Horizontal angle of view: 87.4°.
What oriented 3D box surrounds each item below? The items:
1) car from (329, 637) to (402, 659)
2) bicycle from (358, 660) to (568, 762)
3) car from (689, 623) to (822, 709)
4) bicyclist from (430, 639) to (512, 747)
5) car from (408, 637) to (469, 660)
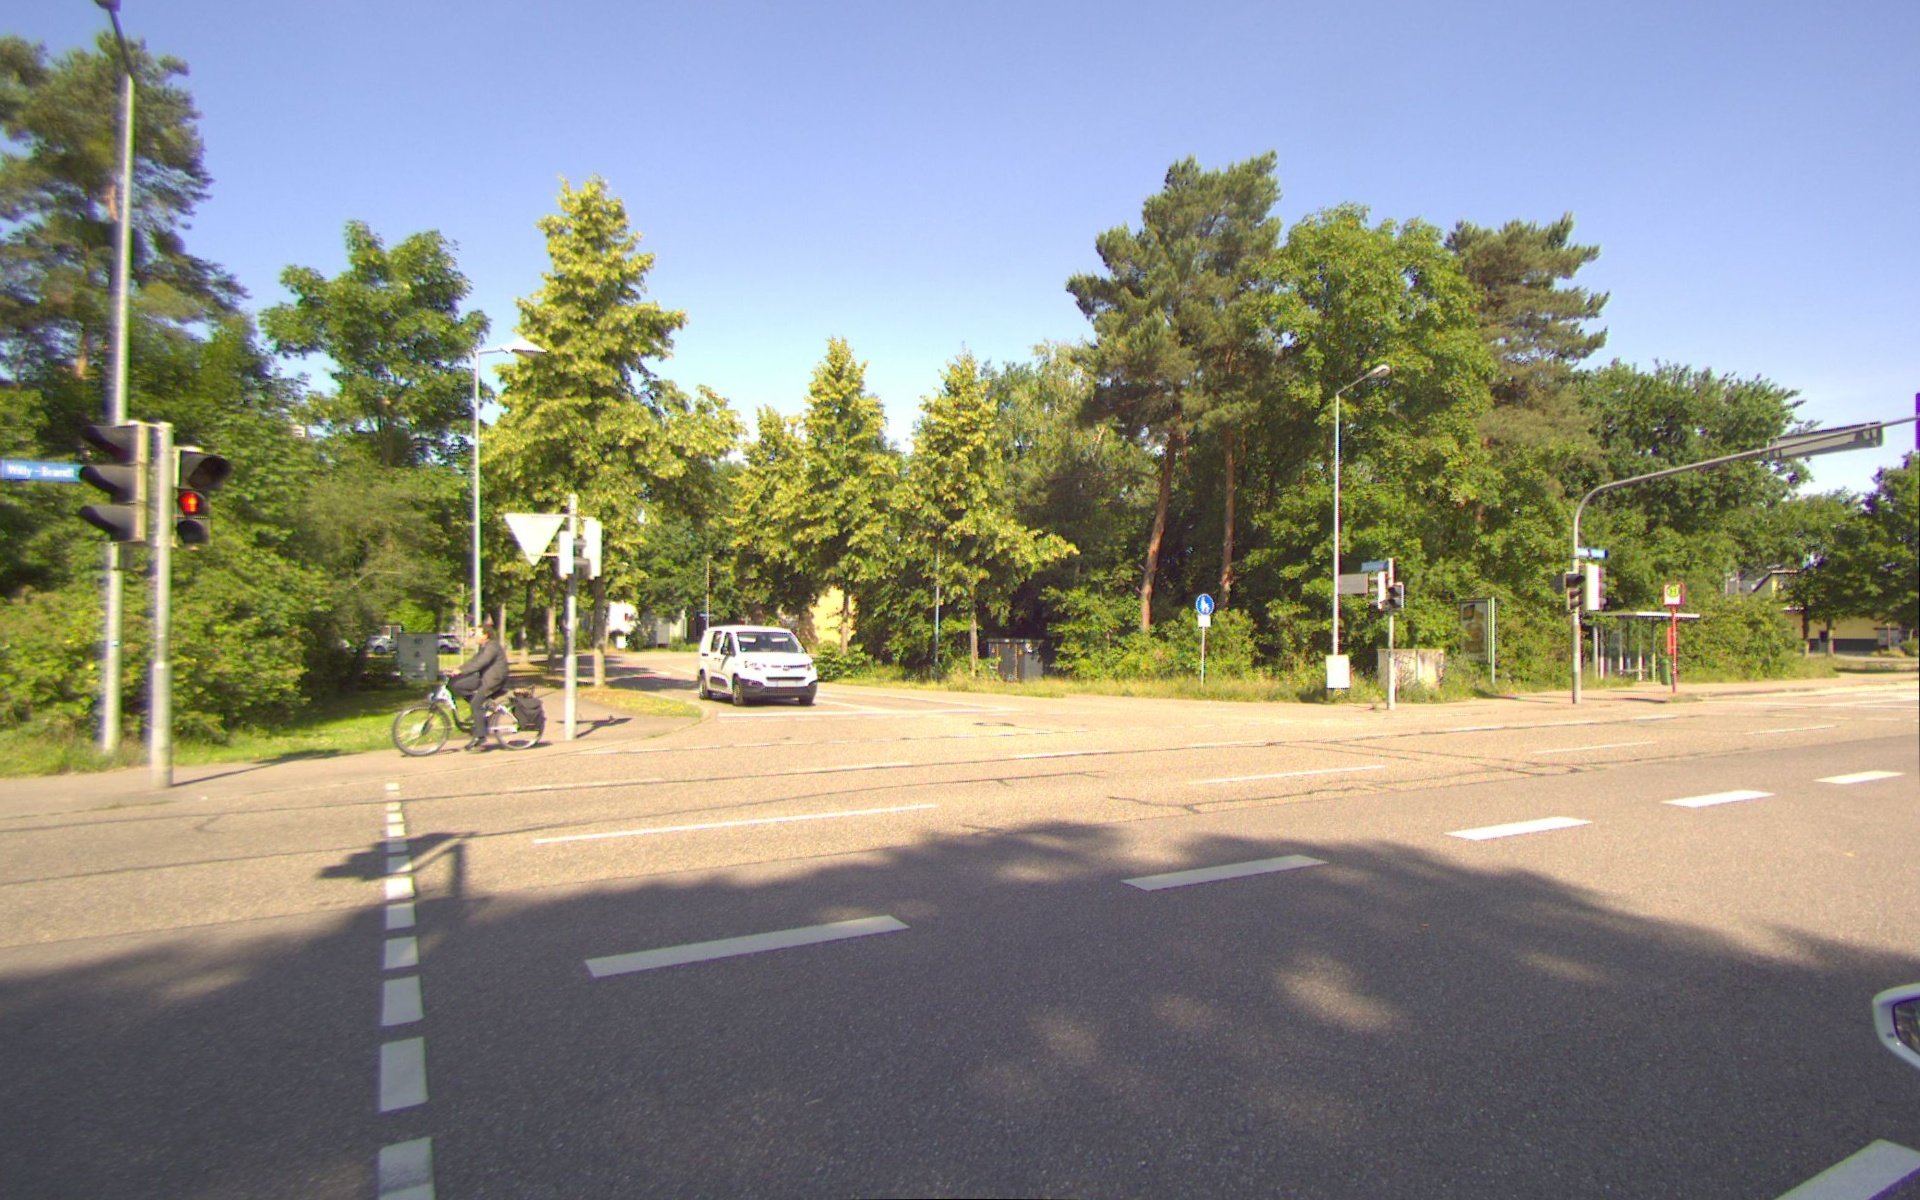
[{"bbox_3d":[-43.306,3.504,73.262,4.210,1.506,1.768,2,0,-20],"label":"car"},{"bbox_3d":[-6.341,1.376,12.890,2.345,1.178,0.729,1,-2,-31],"label":"bicycle"},{"bbox_3d":[-4.940,1.529,23.747,1.830,1.801,4.628,2,-3,-28],"label":"car"},{"bbox_3d":[-6.293,1.169,12.932,0.874,1.328,0.717,1,-2,-31],"label":"bicyclist"},{"bbox_3d":[-38.516,3.586,74.209,3.637,1.584,1.598,2,0,-6],"label":"car"}]
